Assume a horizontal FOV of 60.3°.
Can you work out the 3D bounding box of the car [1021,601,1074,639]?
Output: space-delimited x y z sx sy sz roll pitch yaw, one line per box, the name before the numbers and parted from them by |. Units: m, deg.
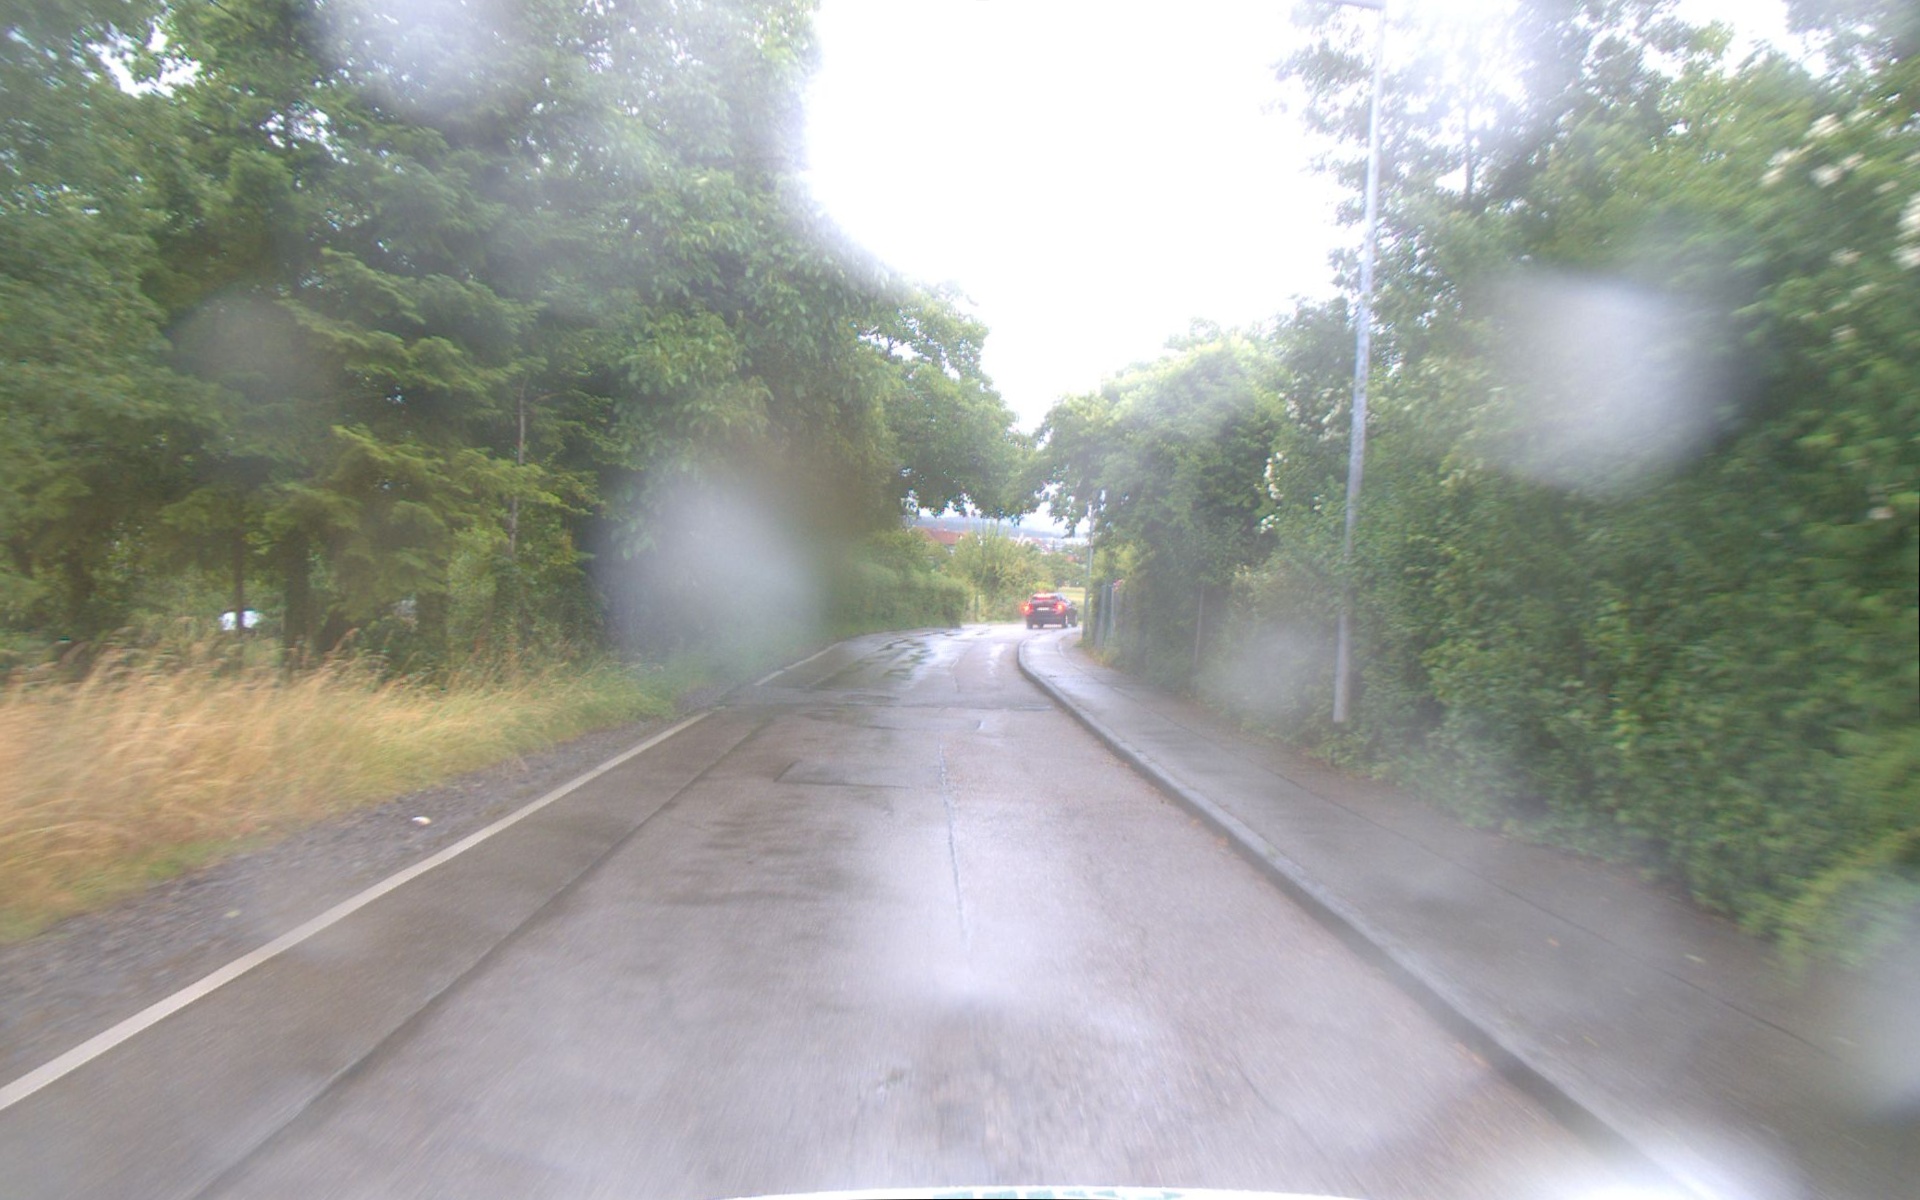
car | 3.753 0.874 70.554 1.600 1.475 3.547 3 -1 13
